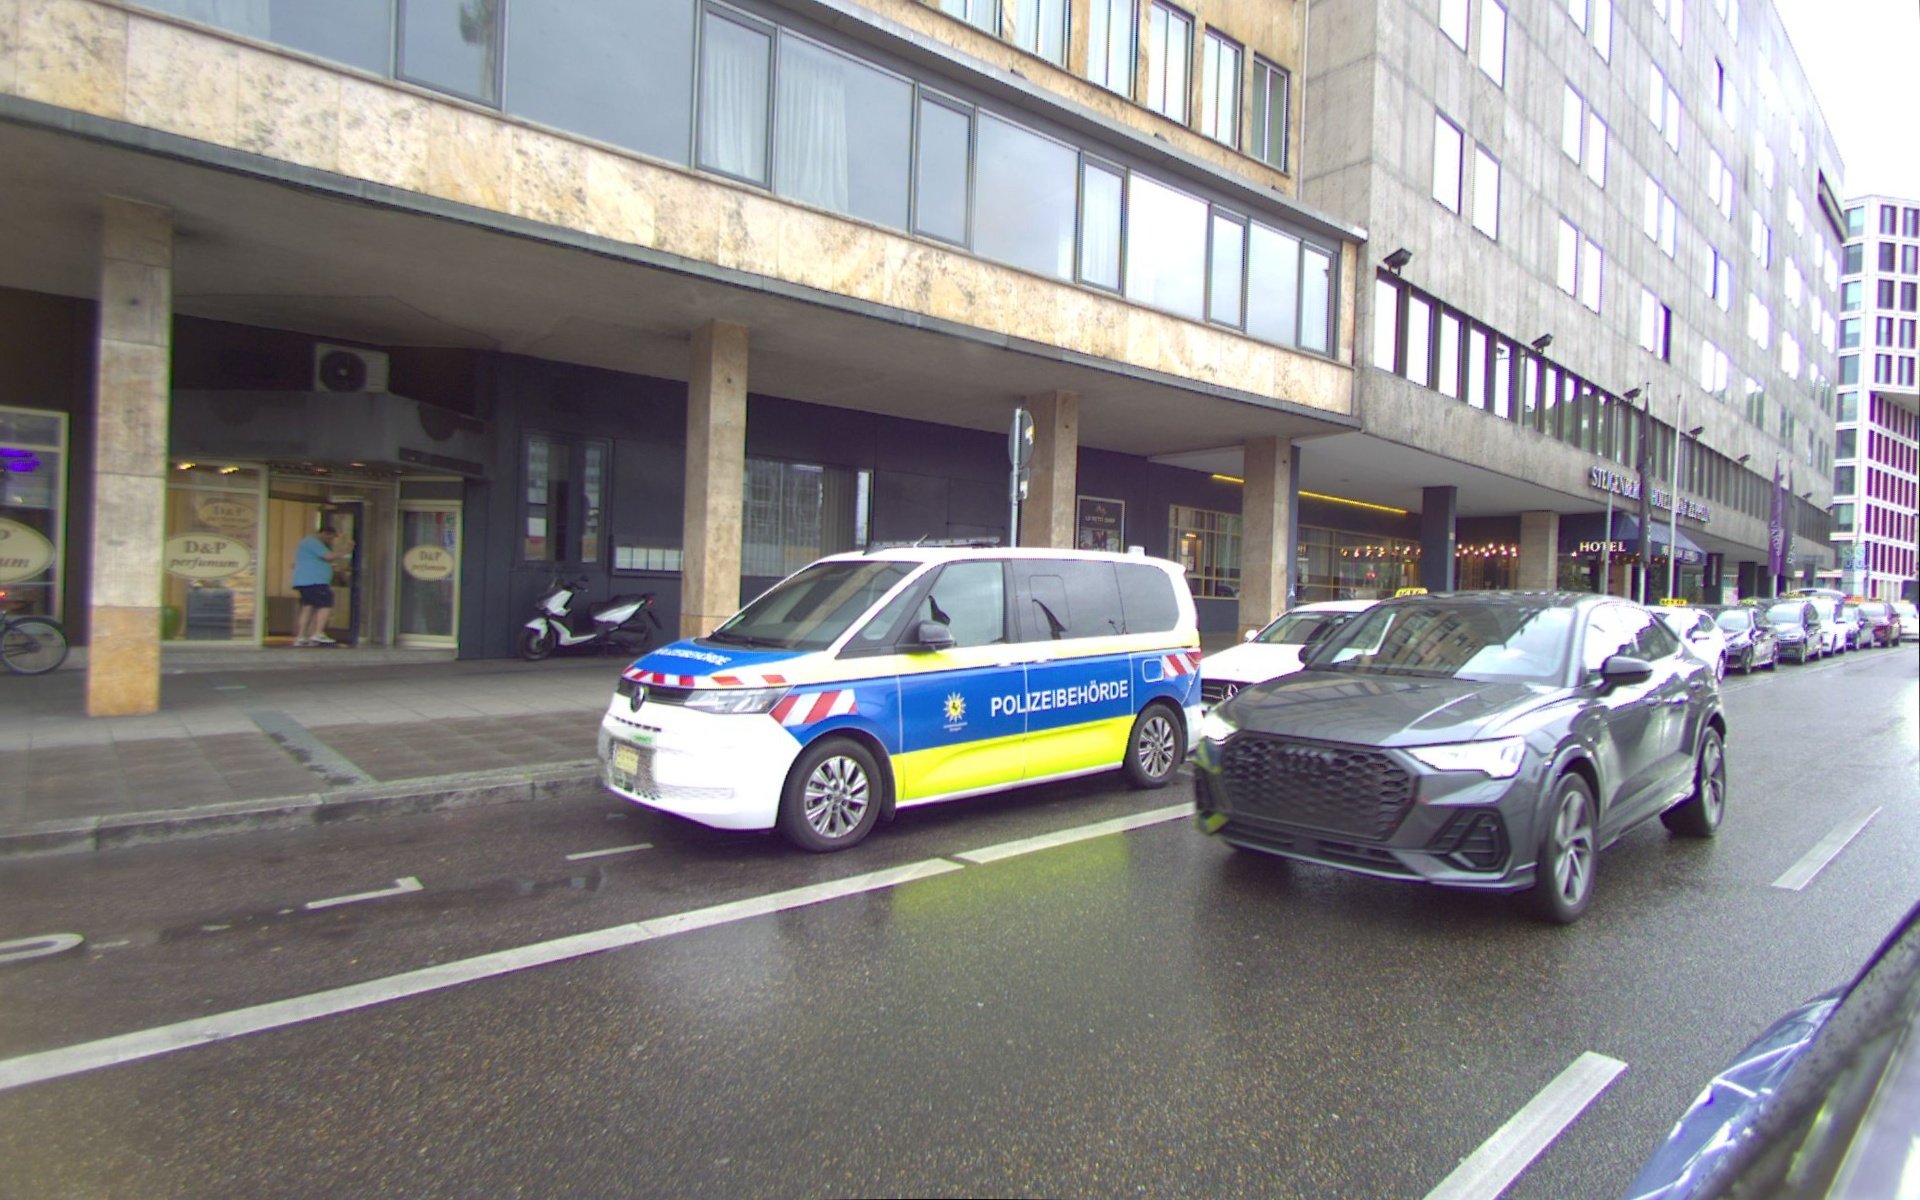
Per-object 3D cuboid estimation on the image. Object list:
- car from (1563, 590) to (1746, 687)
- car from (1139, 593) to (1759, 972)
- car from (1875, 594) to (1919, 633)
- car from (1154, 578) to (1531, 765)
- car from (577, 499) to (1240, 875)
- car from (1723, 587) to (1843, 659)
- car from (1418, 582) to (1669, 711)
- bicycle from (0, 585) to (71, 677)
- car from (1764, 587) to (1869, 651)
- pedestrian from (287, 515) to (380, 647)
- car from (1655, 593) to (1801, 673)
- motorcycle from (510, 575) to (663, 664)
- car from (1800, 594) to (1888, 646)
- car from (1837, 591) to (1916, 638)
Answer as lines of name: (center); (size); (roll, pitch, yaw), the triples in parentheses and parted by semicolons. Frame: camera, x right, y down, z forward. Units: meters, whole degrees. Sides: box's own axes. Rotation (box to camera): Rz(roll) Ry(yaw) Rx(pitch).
car: (13.132, 0.622, 19.019); (4.731, 1.612, 1.729); (0, 0, -41)
car: (3.203, 0.724, 6.208); (4.266, 1.520, 1.882); (0, 0, -41)
car: (41.197, 0.544, 43.936); (3.932, 1.634, 1.729); (0, 0, -41)
car: (4.447, 0.615, 11.318); (4.924, 1.658, 1.877); (0, 0, -41)
car: (-0.093, 0.431, 7.558); (4.850, 1.944, 1.877); (0, 0, -41)
car: (21.908, 0.540, 26.879); (4.731, 1.764, 1.729); (0, 0, -41)
car: (8.916, 0.573, 15.290); (4.731, 1.658, 1.877); (0, 0, -41)
bicycle: (-11.652, 0.359, 11.406); (2.428, 1.059, 0.657); (0, 0, -41)
car: (25.691, 0.504, 30.312); (4.731, 1.764, 1.729); (0, 0, -41)
pedestrian: (-8.993, -0.262, 14.533); (1.114, 1.813, 0.801); (0, 0, -33)
car: (17.388, 0.660, 22.831); (4.731, 1.612, 1.729); (0, 0, -41)
motorcycle: (-5.495, 0.264, 14.955); (2.063, 1.233, 0.569); (0, 0, -33)
car: (29.698, 0.619, 33.949); (3.932, 1.634, 1.729); (0, 0, -41)
car: (33.660, 0.482, 37.149); (3.932, 1.634, 1.729); (0, 0, -41)
